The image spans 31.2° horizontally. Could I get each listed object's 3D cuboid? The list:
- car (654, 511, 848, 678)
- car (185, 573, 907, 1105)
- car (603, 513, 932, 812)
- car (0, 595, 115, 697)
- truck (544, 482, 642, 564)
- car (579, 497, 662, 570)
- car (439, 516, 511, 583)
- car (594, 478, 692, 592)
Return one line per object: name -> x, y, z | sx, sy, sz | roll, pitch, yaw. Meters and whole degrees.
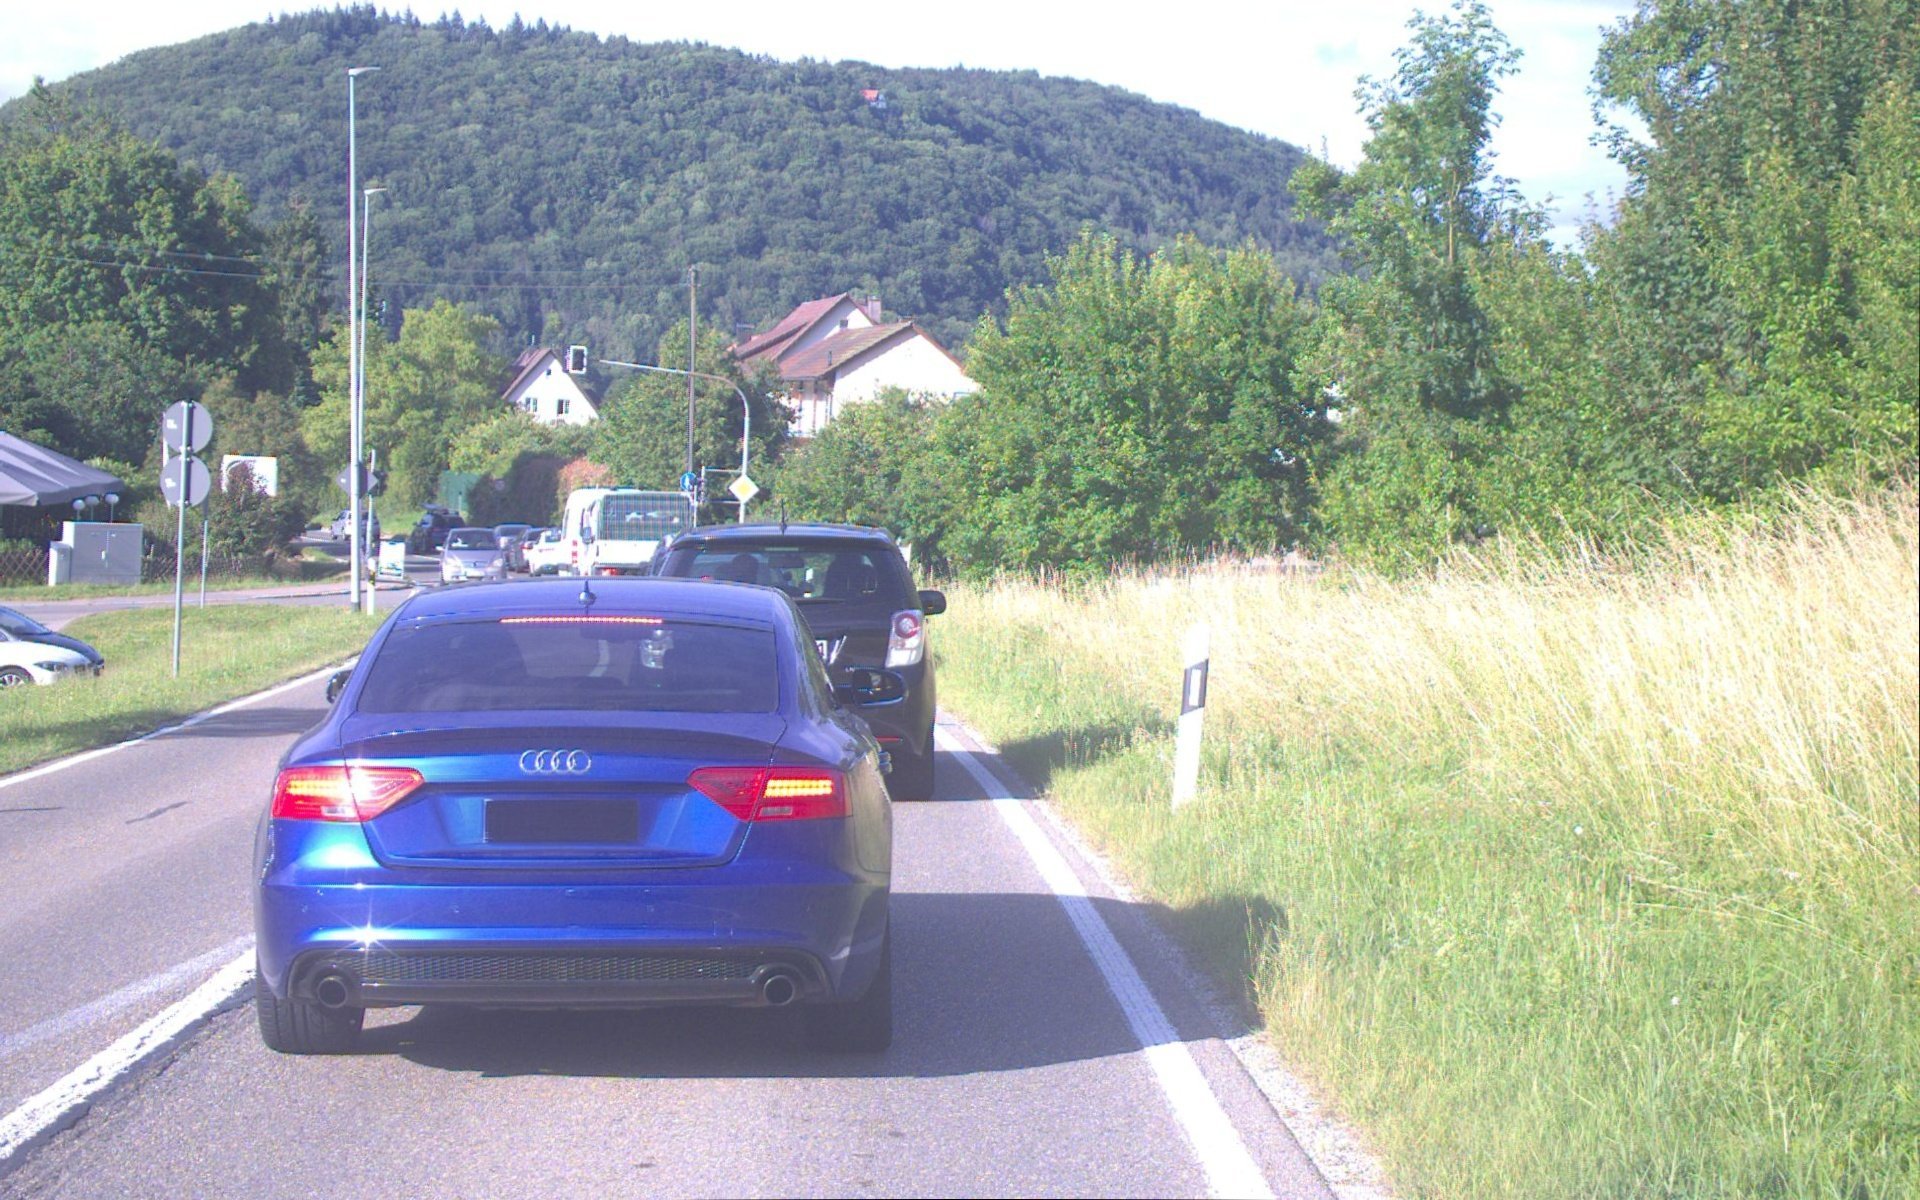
car -> -2.148, -0.070, 36.360 | 1.804, 1.634, 4.463 | 1, 0, -1
car -> -1.110, 0.607, 10.956 | 1.795, 1.383, 4.000 | 0, 0, 0
car -> -1.085, 0.331, 21.074 | 1.746, 1.634, 4.000 | 1, 0, 0
car -> -15.664, 0.667, 52.882 | 4.815, 1.488, 1.880 | 1, 0, 8
truck -> -9.213, -1.882, 85.871 | 1.697, 1.947, 5.924 | 1, 0, -13
car -> -7.970, -1.547, 80.534 | 1.745, 1.634, 4.001 | 1, 0, -8
car -> -12.501, -1.297, 88.463 | 1.734, 1.656, 3.472 | 1, 0, -9
car -> -6.410, -1.289, 69.242 | 1.745, 2.188, 4.001 | 1, 0, -8
